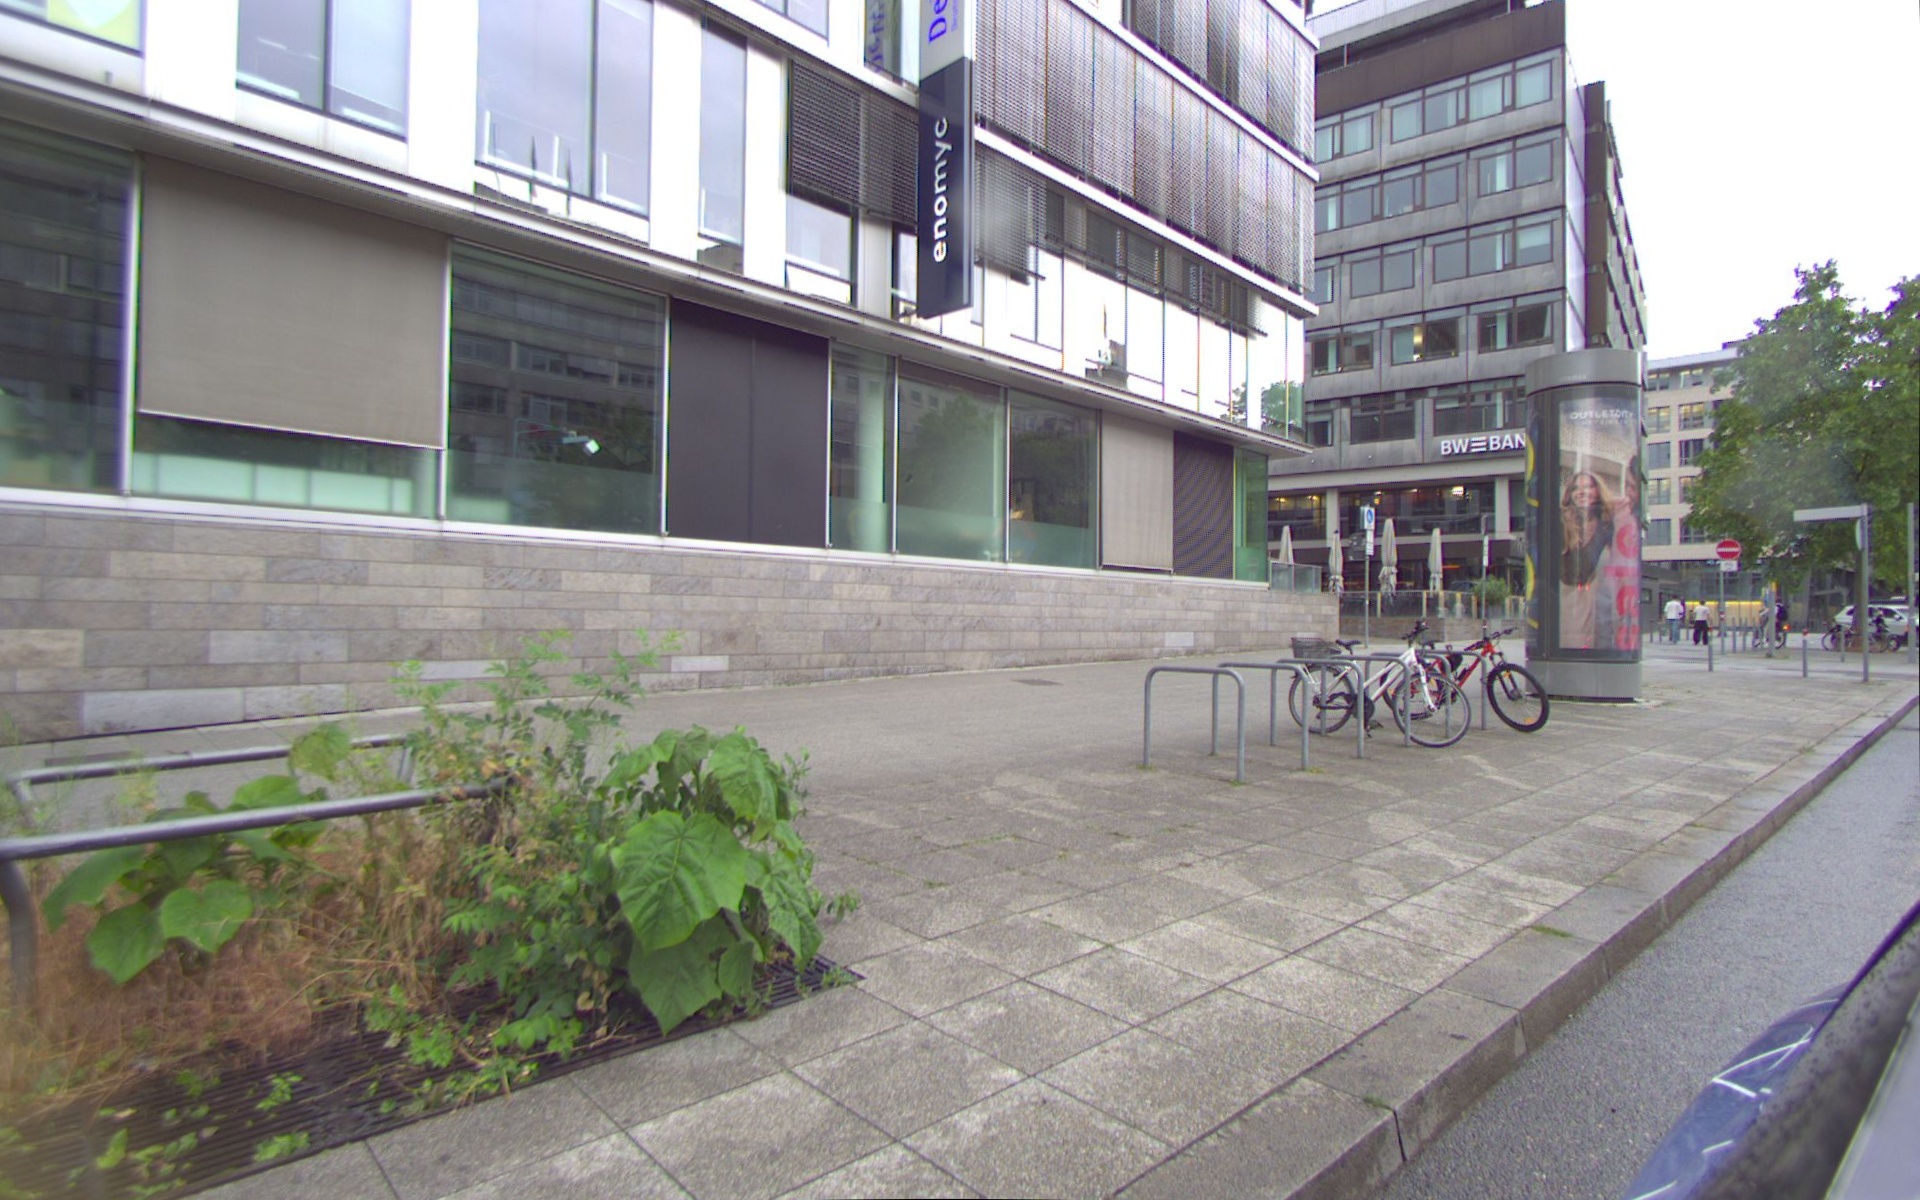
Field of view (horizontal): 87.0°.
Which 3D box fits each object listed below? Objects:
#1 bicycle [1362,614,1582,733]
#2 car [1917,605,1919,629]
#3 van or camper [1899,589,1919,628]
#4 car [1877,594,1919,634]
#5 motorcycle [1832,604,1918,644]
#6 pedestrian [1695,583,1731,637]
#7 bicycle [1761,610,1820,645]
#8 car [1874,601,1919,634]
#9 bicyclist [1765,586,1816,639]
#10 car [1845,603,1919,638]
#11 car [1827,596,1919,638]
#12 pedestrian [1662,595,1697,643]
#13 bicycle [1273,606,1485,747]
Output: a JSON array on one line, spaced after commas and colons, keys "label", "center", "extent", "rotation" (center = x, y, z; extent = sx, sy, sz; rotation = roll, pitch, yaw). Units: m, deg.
[{"label": "bicycle", "center": [5.498, 0.737, 10.990], "extent": [0.793, 1.118, 1.989], "rotation": [1, 0, -37]}, {"label": "car", "center": [58.712, 0.979, 58.944], "extent": [1.673, 1.442, 4.068], "rotation": [0, -1, -12]}, {"label": "van or camper", "center": [61.435, 0.486, 61.467], "extent": [2.267, 2.479, 6.276], "rotation": [0, -1, -11]}, {"label": "car", "center": [48.779, 0.684, 50.239], "extent": [1.882, 2.018, 4.525], "rotation": [0, -1, -12]}, {"label": "motorcycle", "center": [31.719, 0.829, 35.130], "extent": [0.664, 1.375, 2.090], "rotation": [1, -2, -34]}, {"label": "pedestrian", "center": [29.098, 0.386, 39.128], "extent": [0.738, 2.065, 0.853], "rotation": [1, -2, -31]}, {"label": "bicycle", "center": [28.891, 0.961, 35.250], "extent": [0.766, 1.154, 1.967], "rotation": [-3, -3, 15]}, {"label": "car", "center": [46.769, 0.828, 48.228], "extent": [1.876, 1.557, 4.399], "rotation": [0, -1, -14]}, {"label": "bicyclist", "center": [28.881, 0.438, 35.212], "extent": [0.799, 1.772, 1.076], "rotation": [-4, -3, 10]}, {"label": "car", "center": [41.200, 0.875, 43.422], "extent": [1.877, 1.493, 4.729], "rotation": [0, -1, -9]}, {"label": "car", "center": [38.713, 0.702, 41.378], "extent": [1.876, 1.671, 4.812], "rotation": [0, -1, -11]}, {"label": "pedestrian", "center": [28.243, 0.744, 39.719], "extent": [0.880, 1.893, 0.804], "rotation": [1, -2, -30]}, {"label": "bicycle", "center": [4.040, 0.683, 9.897], "extent": [0.648, 1.212, 1.841], "rotation": [1, 0, -37]}]
